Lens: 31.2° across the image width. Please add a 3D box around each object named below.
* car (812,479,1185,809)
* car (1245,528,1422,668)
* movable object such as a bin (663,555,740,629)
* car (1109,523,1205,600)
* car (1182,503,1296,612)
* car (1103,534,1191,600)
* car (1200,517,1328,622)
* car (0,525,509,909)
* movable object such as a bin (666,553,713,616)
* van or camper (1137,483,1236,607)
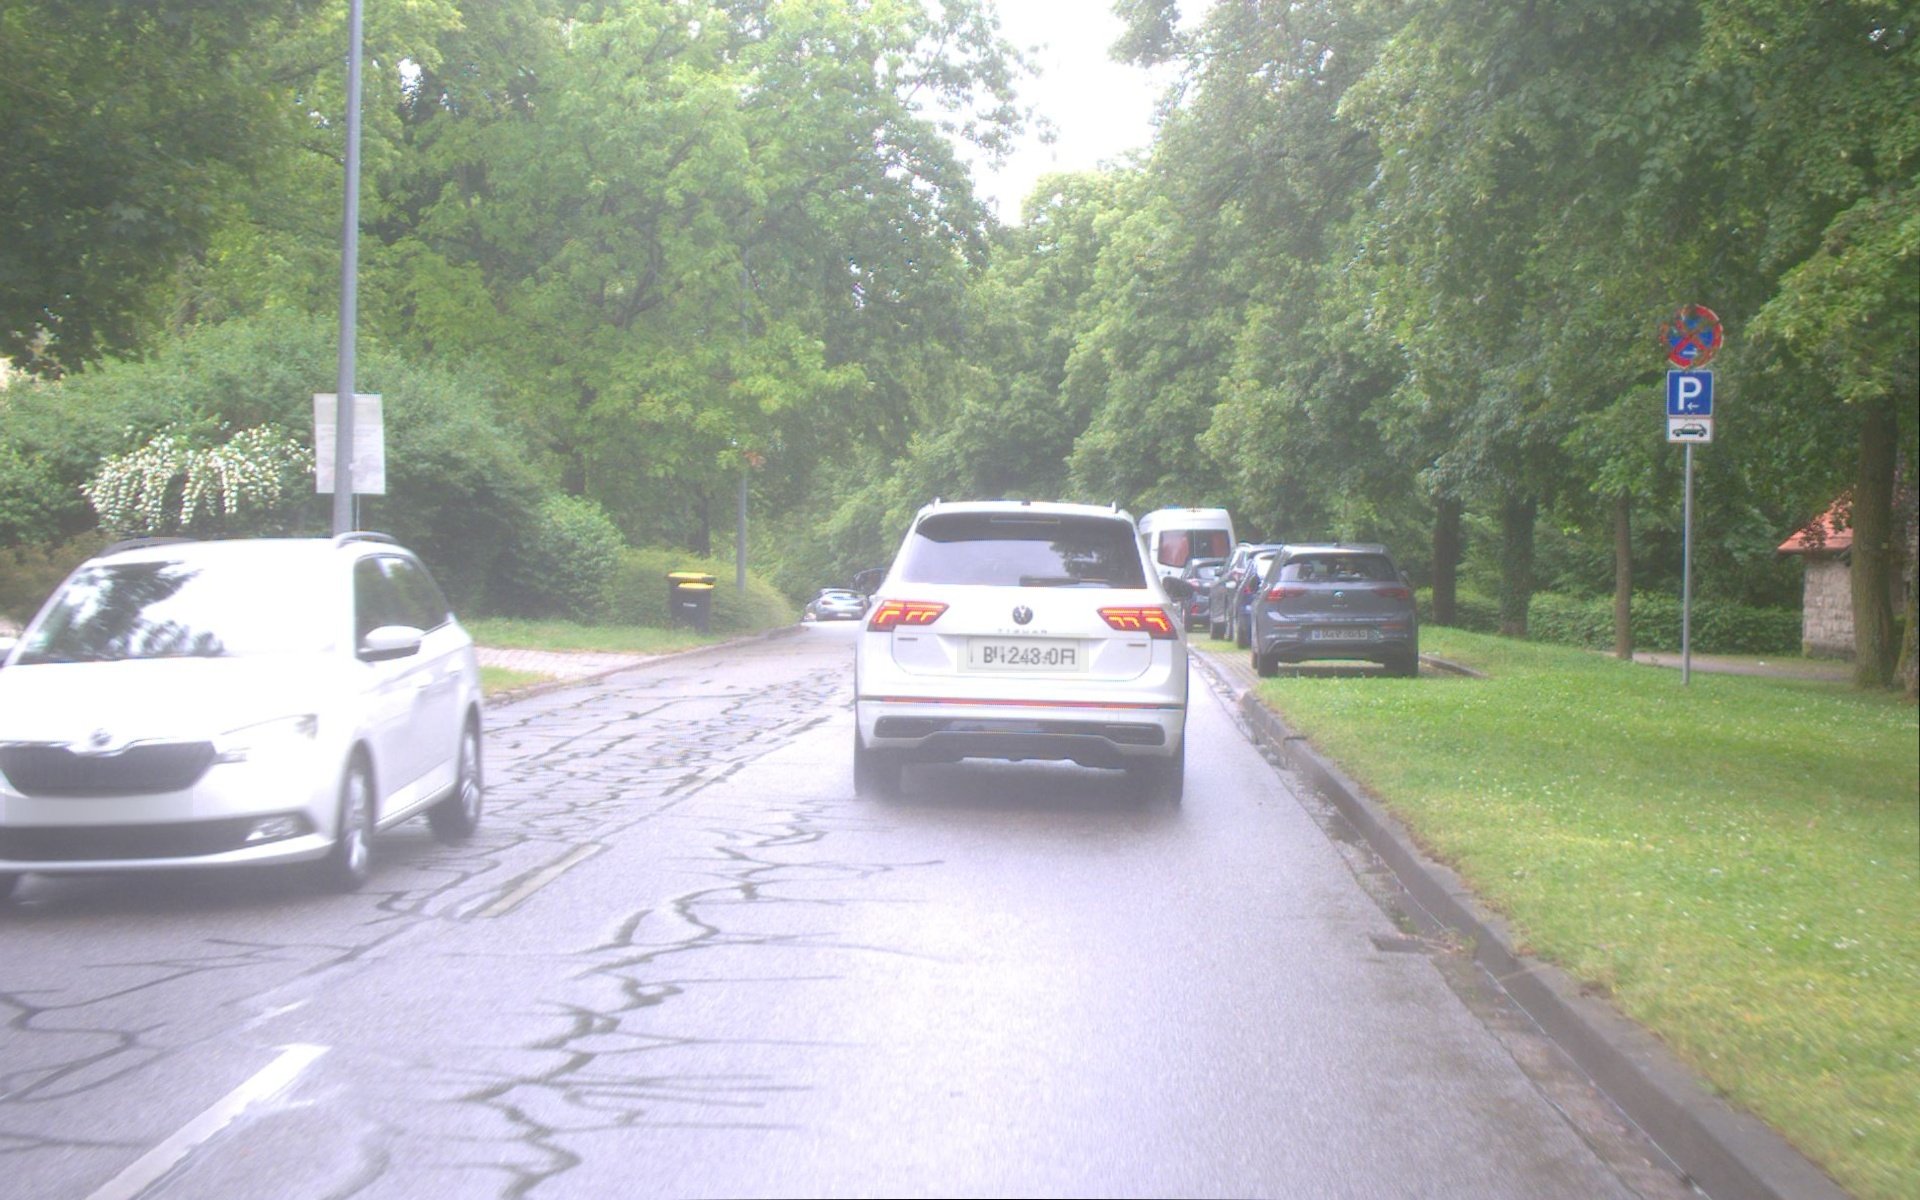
[{"bbox_3d":[0.205,0.187,20.029,1.905,1.679,4.201,1,1,0],"label":"car"},{"bbox_3d":[4.111,-0.059,38.359,1.701,1.456,4.217,-1,1,3],"label":"car"},{"bbox_3d":[-4.080,-0.127,54.274,1.037,1.101,0.966,-3,1,4],"label":"movable object such as a bin"},{"bbox_3d":[3.948,-0.791,68.755,1.865,1.506,3.724,0,1,3],"label":"car"},{"bbox_3d":[4.595,-0.723,56.998,1.781,1.713,4.261,-1,1,3],"label":"car"},{"bbox_3d":[4.541,-0.807,84.014,1.805,1.534,4.267,-1,1,-1],"label":"car"},{"bbox_3d":[4.393,-0.475,50.146,1.743,1.447,4.000,1,1,4],"label":"car"},{"bbox_3d":[-3.200,0.410,15.086,1.700,1.405,4.008,-2,1,3],"label":"car"},{"bbox_3d":[-4.326,-0.252,54.981,0.648,0.976,0.578,2,1,4],"label":"movable object such as a bin"},{"bbox_3d":[5.060,-1.255,77.256,2.016,2.574,8.435,2,1,3],"label":"van or camper"}]
